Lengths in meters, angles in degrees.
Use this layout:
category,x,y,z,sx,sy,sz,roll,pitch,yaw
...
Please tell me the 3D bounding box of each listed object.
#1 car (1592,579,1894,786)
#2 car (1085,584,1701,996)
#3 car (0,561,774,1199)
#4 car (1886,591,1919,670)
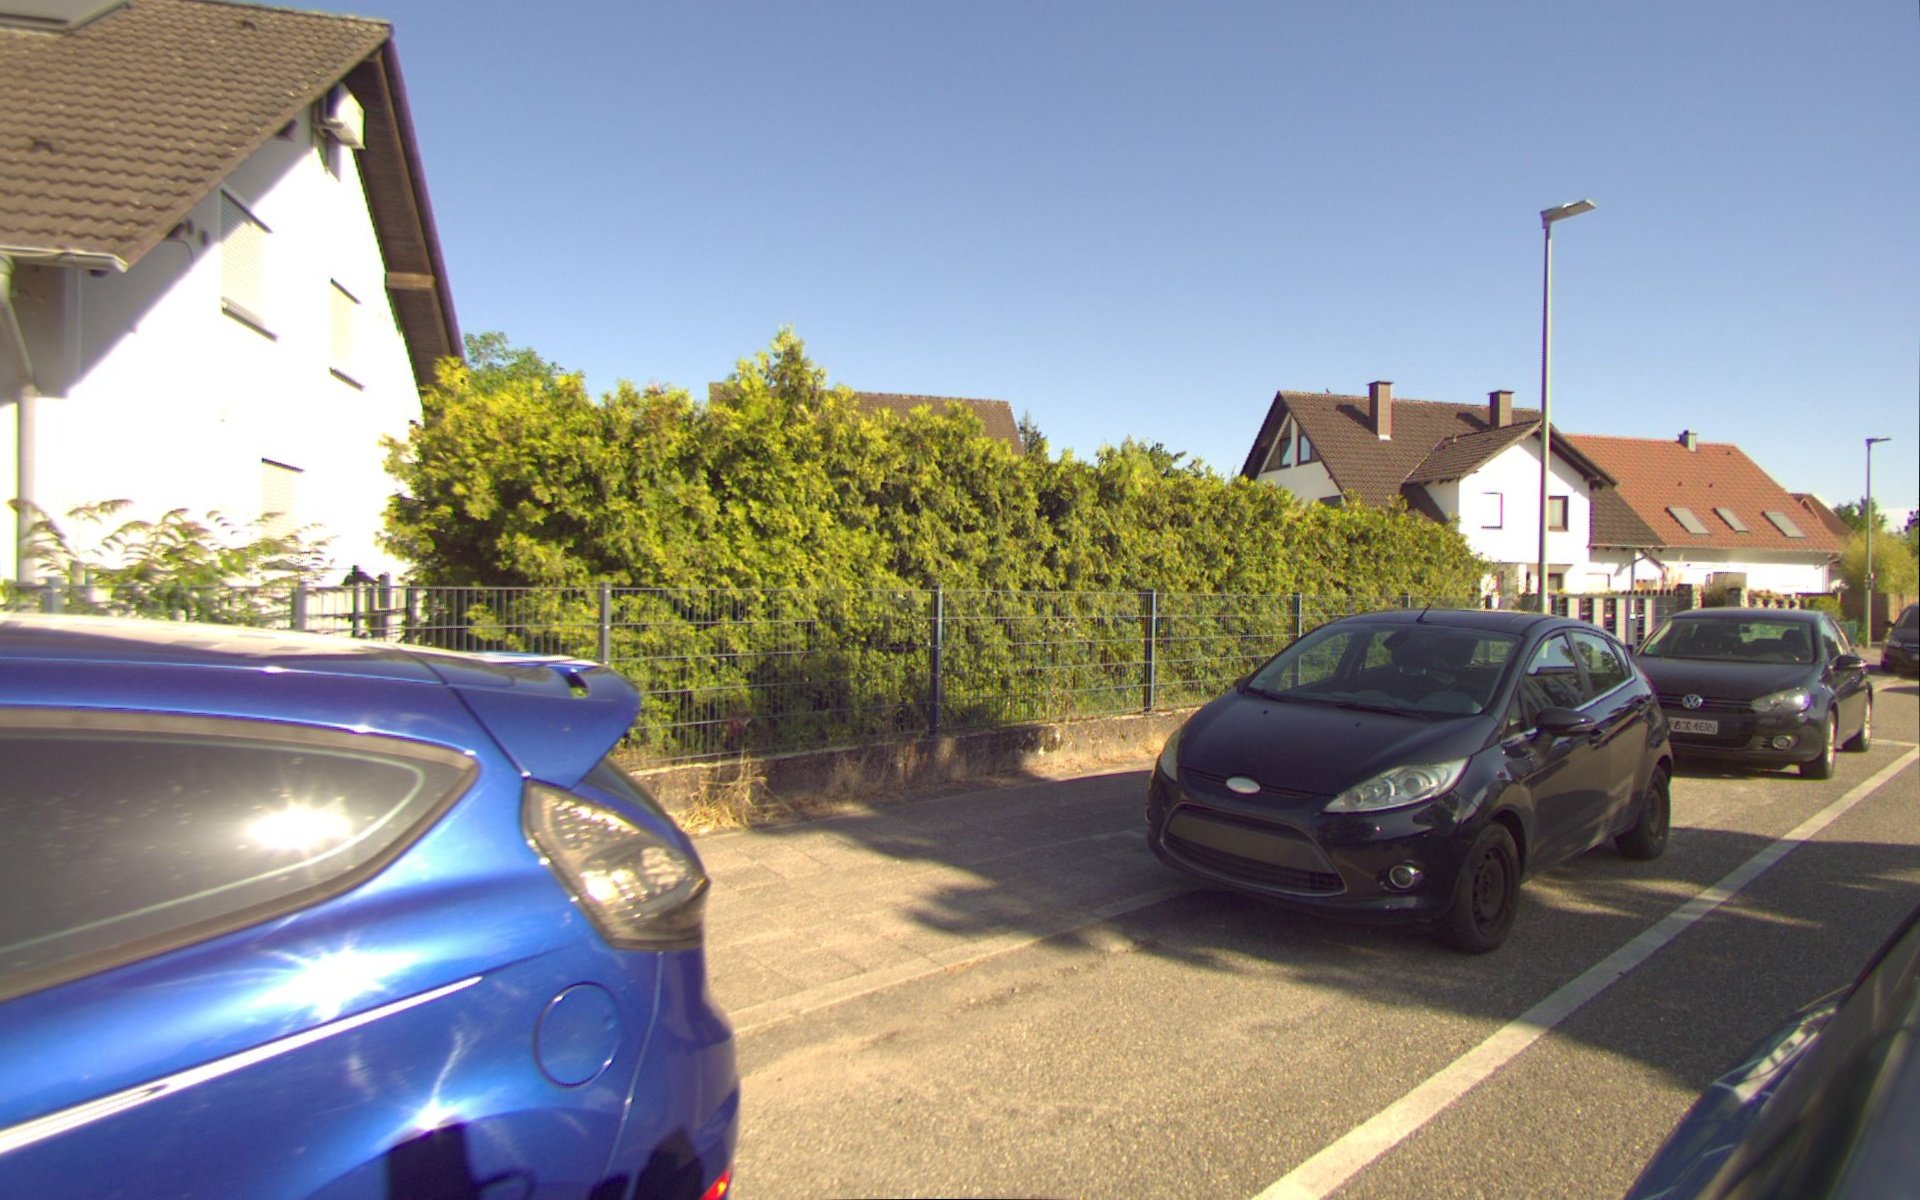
category,x,y,z,sx,sy,sz,roll,pitch,yaw
car,7.922,0.665,10.125,3.751,1.680,1.778,0,0,-42
car,2.619,0.691,5.679,3.839,1.524,1.721,0,0,-42
car,-2.192,0.713,1.267,3.504,1.524,1.720,0,0,-43
car,22.408,0.661,22.739,4.226,1.680,1.780,0,0,-39
